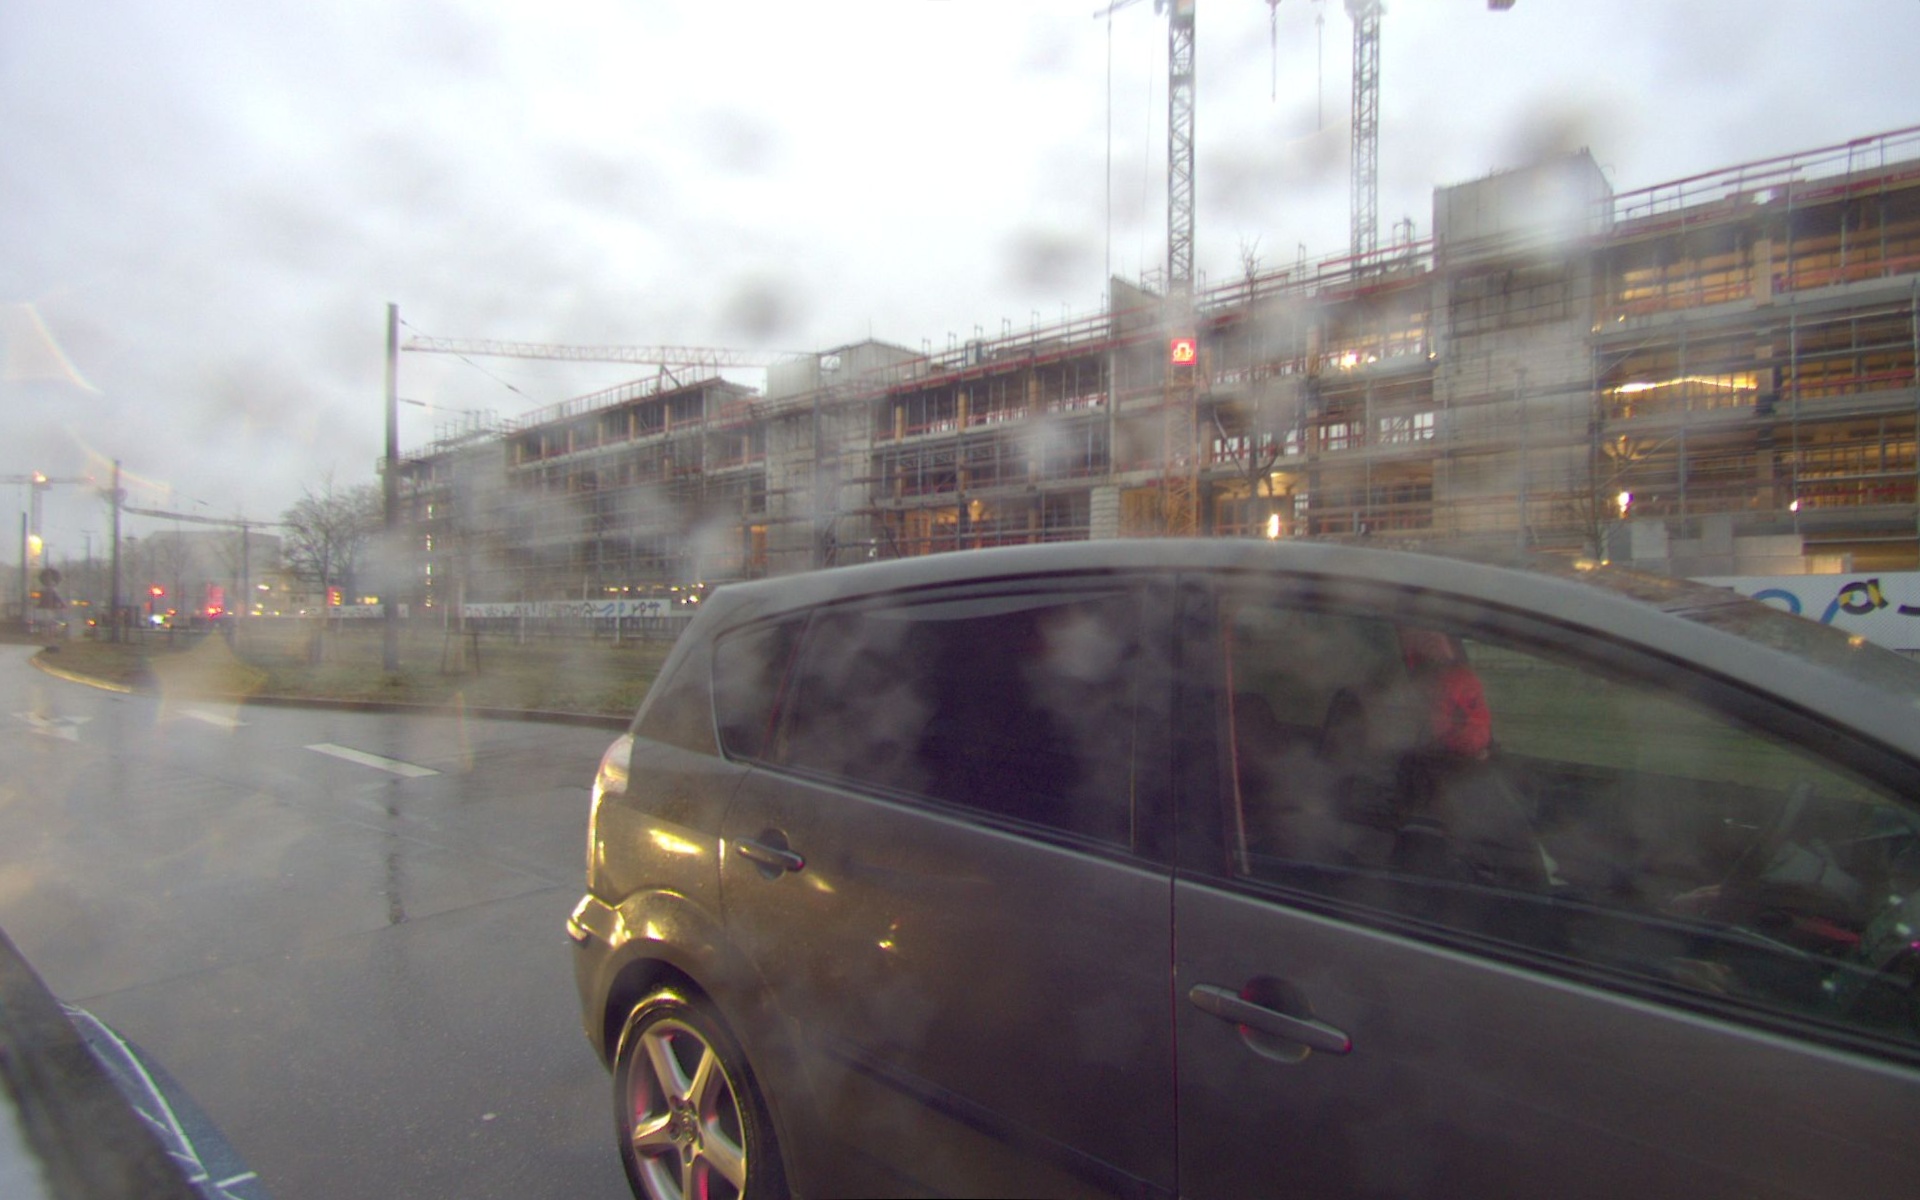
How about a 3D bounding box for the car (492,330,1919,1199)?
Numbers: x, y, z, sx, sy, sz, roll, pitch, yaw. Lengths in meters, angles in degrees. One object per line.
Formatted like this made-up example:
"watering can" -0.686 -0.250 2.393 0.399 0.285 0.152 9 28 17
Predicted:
"car" 1.001 0.607 1.885 4.131 1.659 1.793 -1 -1 39
